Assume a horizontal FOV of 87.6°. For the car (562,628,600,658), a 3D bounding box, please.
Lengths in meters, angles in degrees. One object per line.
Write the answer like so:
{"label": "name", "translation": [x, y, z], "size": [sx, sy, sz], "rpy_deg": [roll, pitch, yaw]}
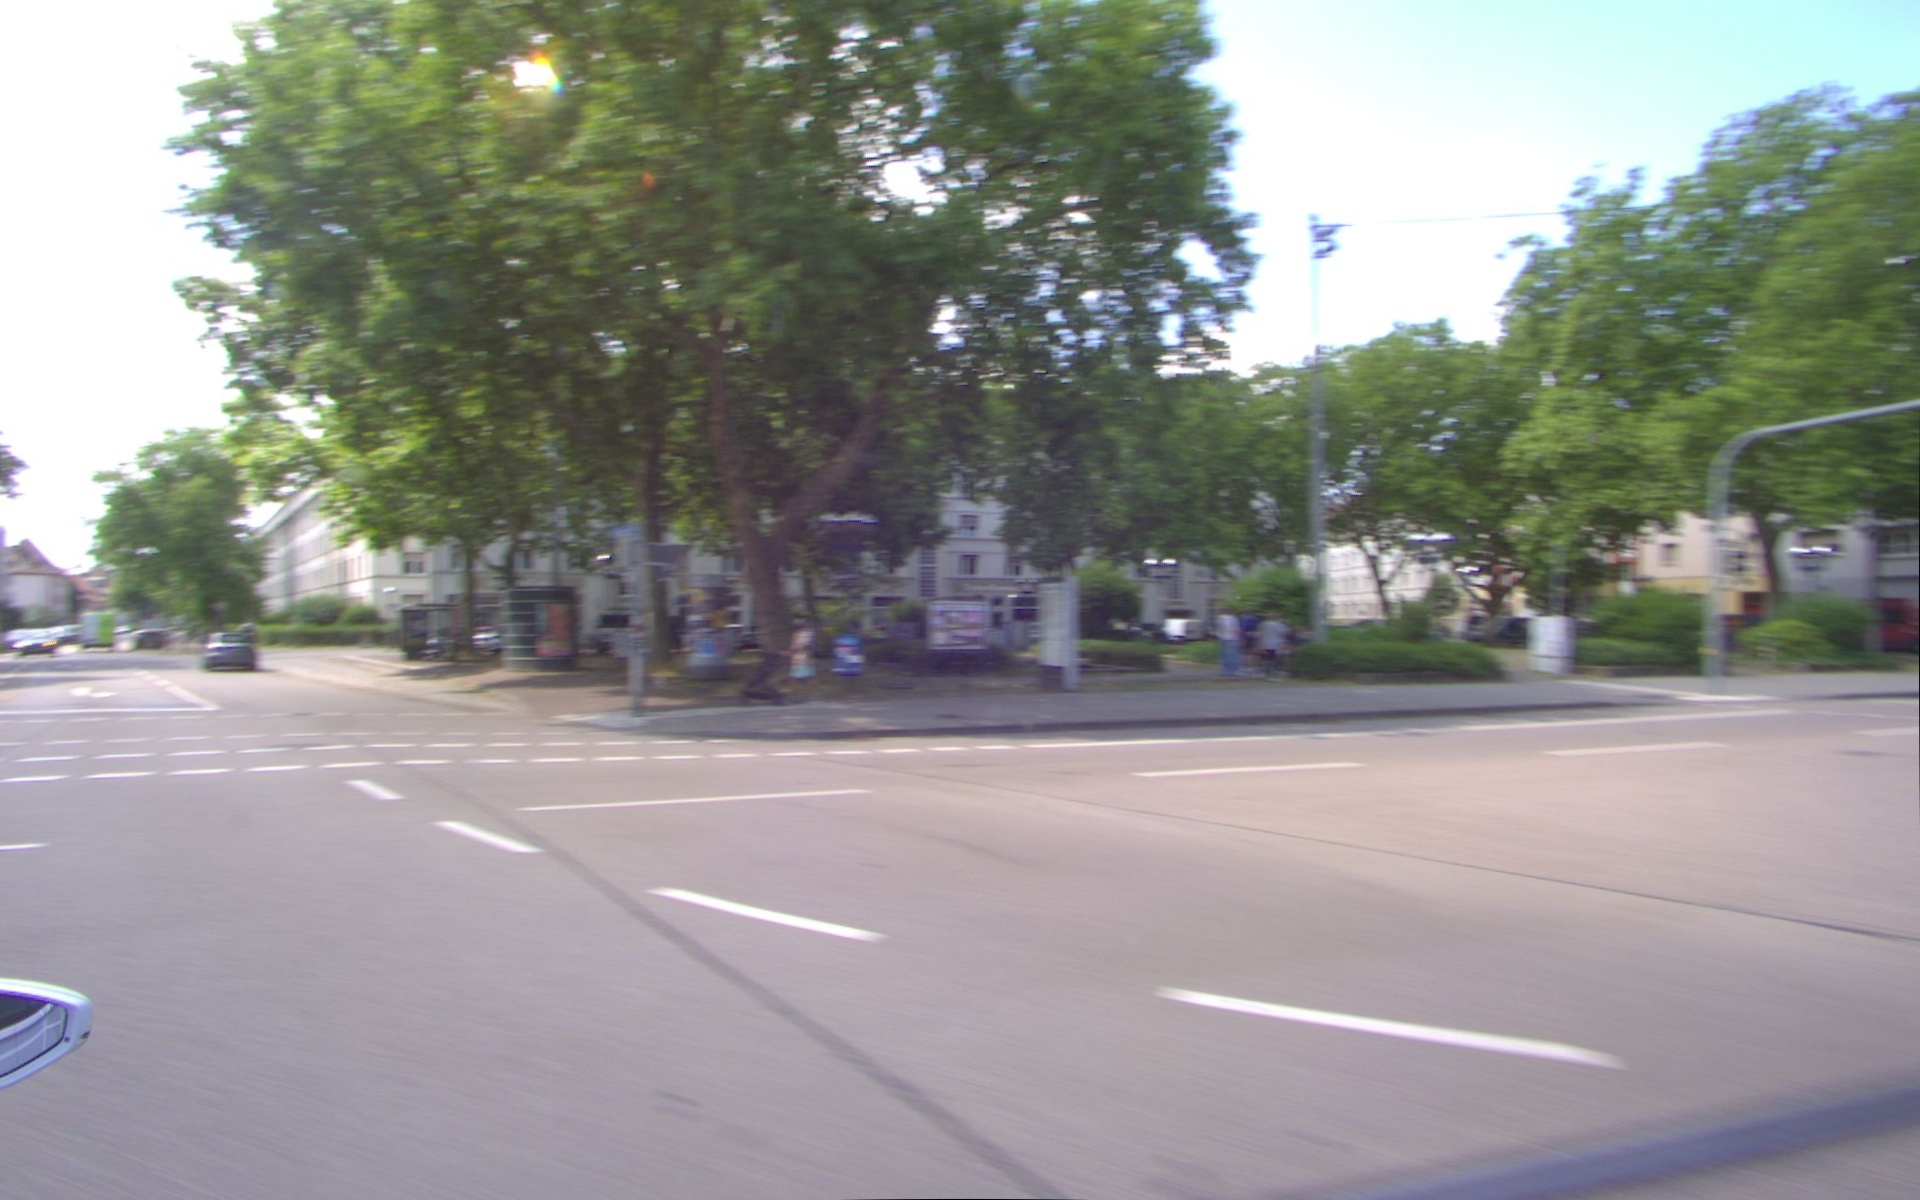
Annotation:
{"label": "car", "translation": [-18.625, 2.079, 49.135], "size": [1.448, 1.407, 3.054], "rpy_deg": [0, -1, -27]}

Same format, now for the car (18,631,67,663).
{"label": "car", "translation": [-53.239, 2.676, 58.139], "size": [1.771, 1.683, 4.281], "rpy_deg": [0, 0, -39]}

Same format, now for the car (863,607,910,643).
{"label": "car", "translation": [-4.393, 1.480, 59.297], "size": [1.965, 2.040, 3.993], "rpy_deg": [-1, -1, -17]}

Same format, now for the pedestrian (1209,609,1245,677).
{"label": "pedestrian", "translation": [7.182, 1.151, 26.968], "size": [0.663, 1.787, 0.686], "rpy_deg": [-1, 1, -42]}

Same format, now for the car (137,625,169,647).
{"label": "car", "translation": [-59.961, 2.657, 74.366], "size": [1.712, 1.575, 3.602], "rpy_deg": [-1, -1, -41]}

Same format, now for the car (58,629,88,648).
{"label": "car", "translation": [-82.277, 3.542, 92.940], "size": [1.846, 1.683, 3.719], "rpy_deg": [0, 0, -39]}

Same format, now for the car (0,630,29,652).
{"label": "car", "translation": [-73.691, 3.162, 77.711], "size": [1.831, 1.583, 3.966], "rpy_deg": [-1, -1, -40]}

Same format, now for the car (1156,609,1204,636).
{"label": "car", "translation": [16.972, 1.705, 77.376], "size": [1.964, 1.990, 3.993], "rpy_deg": [-1, -1, -16]}

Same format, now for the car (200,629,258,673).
{"label": "car", "translation": [-29.013, 1.978, 39.711], "size": [1.678, 1.558, 3.439], "rpy_deg": [-1, 0, -39]}

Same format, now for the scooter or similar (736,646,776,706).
{"label": "scooter or similar", "translation": [-3.823, 1.420, 18.746], "size": [0.696, 1.070, 0.490], "rpy_deg": [0, 0, -17]}

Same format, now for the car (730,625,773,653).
{"label": "car", "translation": [-11.695, 2.148, 56.075], "size": [1.965, 1.440, 3.992], "rpy_deg": [0, -1, -18]}

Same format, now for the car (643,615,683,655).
{"label": "car", "translation": [-16.260, 1.867, 54.710], "size": [1.965, 2.103, 3.992], "rpy_deg": [0, -1, -18]}

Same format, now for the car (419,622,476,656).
{"label": "car", "translation": [-26.217, 1.974, 51.384], "size": [1.999, 1.621, 4.528], "rpy_deg": [-1, -1, -20]}

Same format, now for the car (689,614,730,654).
{"label": "car", "translation": [-13.840, 1.837, 55.148], "size": [1.965, 2.103, 3.992], "rpy_deg": [0, -1, -18]}

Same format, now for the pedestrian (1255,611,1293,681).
{"label": "pedestrian", "translation": [8.031, 1.165, 25.617], "size": [0.712, 1.745, 0.686], "rpy_deg": [-1, 1, -42]}

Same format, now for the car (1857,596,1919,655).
{"label": "car", "translation": [41.209, 1.041, 43.168], "size": [3.929, 2.452, 2.109], "rpy_deg": [-1, 0, -18]}

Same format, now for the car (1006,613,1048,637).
{"label": "car", "translation": [4.854, 1.782, 73.087], "size": [1.713, 1.658, 3.993], "rpy_deg": [-1, -1, -16]}

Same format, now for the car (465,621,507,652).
{"label": "car", "translation": [-29.081, 2.193, 61.566], "size": [1.879, 1.819, 4.709], "rpy_deg": [-1, -1, -21]}

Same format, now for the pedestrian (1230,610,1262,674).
{"label": "pedestrian", "translation": [8.093, 1.174, 28.373], "size": [0.691, 1.774, 0.600], "rpy_deg": [-1, 1, -42]}

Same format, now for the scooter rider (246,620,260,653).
{"label": "scooter rider", "translation": [-39.985, 2.067, 56.620], "size": [0.522, 1.836, 0.643], "rpy_deg": [-1, 1, -43]}

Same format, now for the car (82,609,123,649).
{"label": "car", "translation": [-60.301, 2.014, 70.429], "size": [2.103, 2.676, 6.272], "rpy_deg": [-1, 0, -41]}

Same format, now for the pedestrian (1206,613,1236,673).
{"label": "pedestrian", "translation": [7.797, 1.265, 29.939], "size": [0.691, 1.774, 0.600], "rpy_deg": [-1, 1, -42]}

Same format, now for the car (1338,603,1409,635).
{"label": "car", "translation": [24.688, 1.110, 59.887], "size": [1.836, 1.823, 3.993], "rpy_deg": [-1, -1, -16]}

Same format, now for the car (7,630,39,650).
{"label": "car", "translation": [-82.432, 3.485, 88.101], "size": [1.714, 1.683, 3.719], "rpy_deg": [0, 0, -39]}

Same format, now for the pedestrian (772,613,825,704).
{"label": "pedestrian", "translation": [-3.063, 1.090, 18.955], "size": [0.906, 1.667, 0.569], "rpy_deg": [-1, 0, -17]}

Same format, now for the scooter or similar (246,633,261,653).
{"label": "scooter or similar", "translation": [-39.934, 2.438, 56.578], "size": [0.545, 1.106, 1.279], "rpy_deg": [-1, 0, -43]}

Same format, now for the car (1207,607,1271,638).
{"label": "car", "translation": [18.569, 1.478, 66.912], "size": [2.067, 1.930, 4.484], "rpy_deg": [-1, -1, -16]}

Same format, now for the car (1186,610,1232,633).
{"label": "car", "translation": [19.429, 1.637, 78.242], "size": [1.705, 1.719, 3.993], "rpy_deg": [-1, -1, -16]}

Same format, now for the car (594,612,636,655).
{"label": "car", "translation": [-18.374, 1.742, 53.479], "size": [1.965, 2.211, 4.249], "rpy_deg": [0, -1, -18]}

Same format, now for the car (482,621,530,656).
{"label": "car", "translation": [-23.807, 1.983, 52.626], "size": [1.879, 1.712, 4.528], "rpy_deg": [-1, -1, -20]}

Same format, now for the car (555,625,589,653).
{"label": "car", "translation": [-20.429, 2.043, 52.729], "size": [1.447, 1.407, 3.224], "rpy_deg": [0, -1, -25]}
